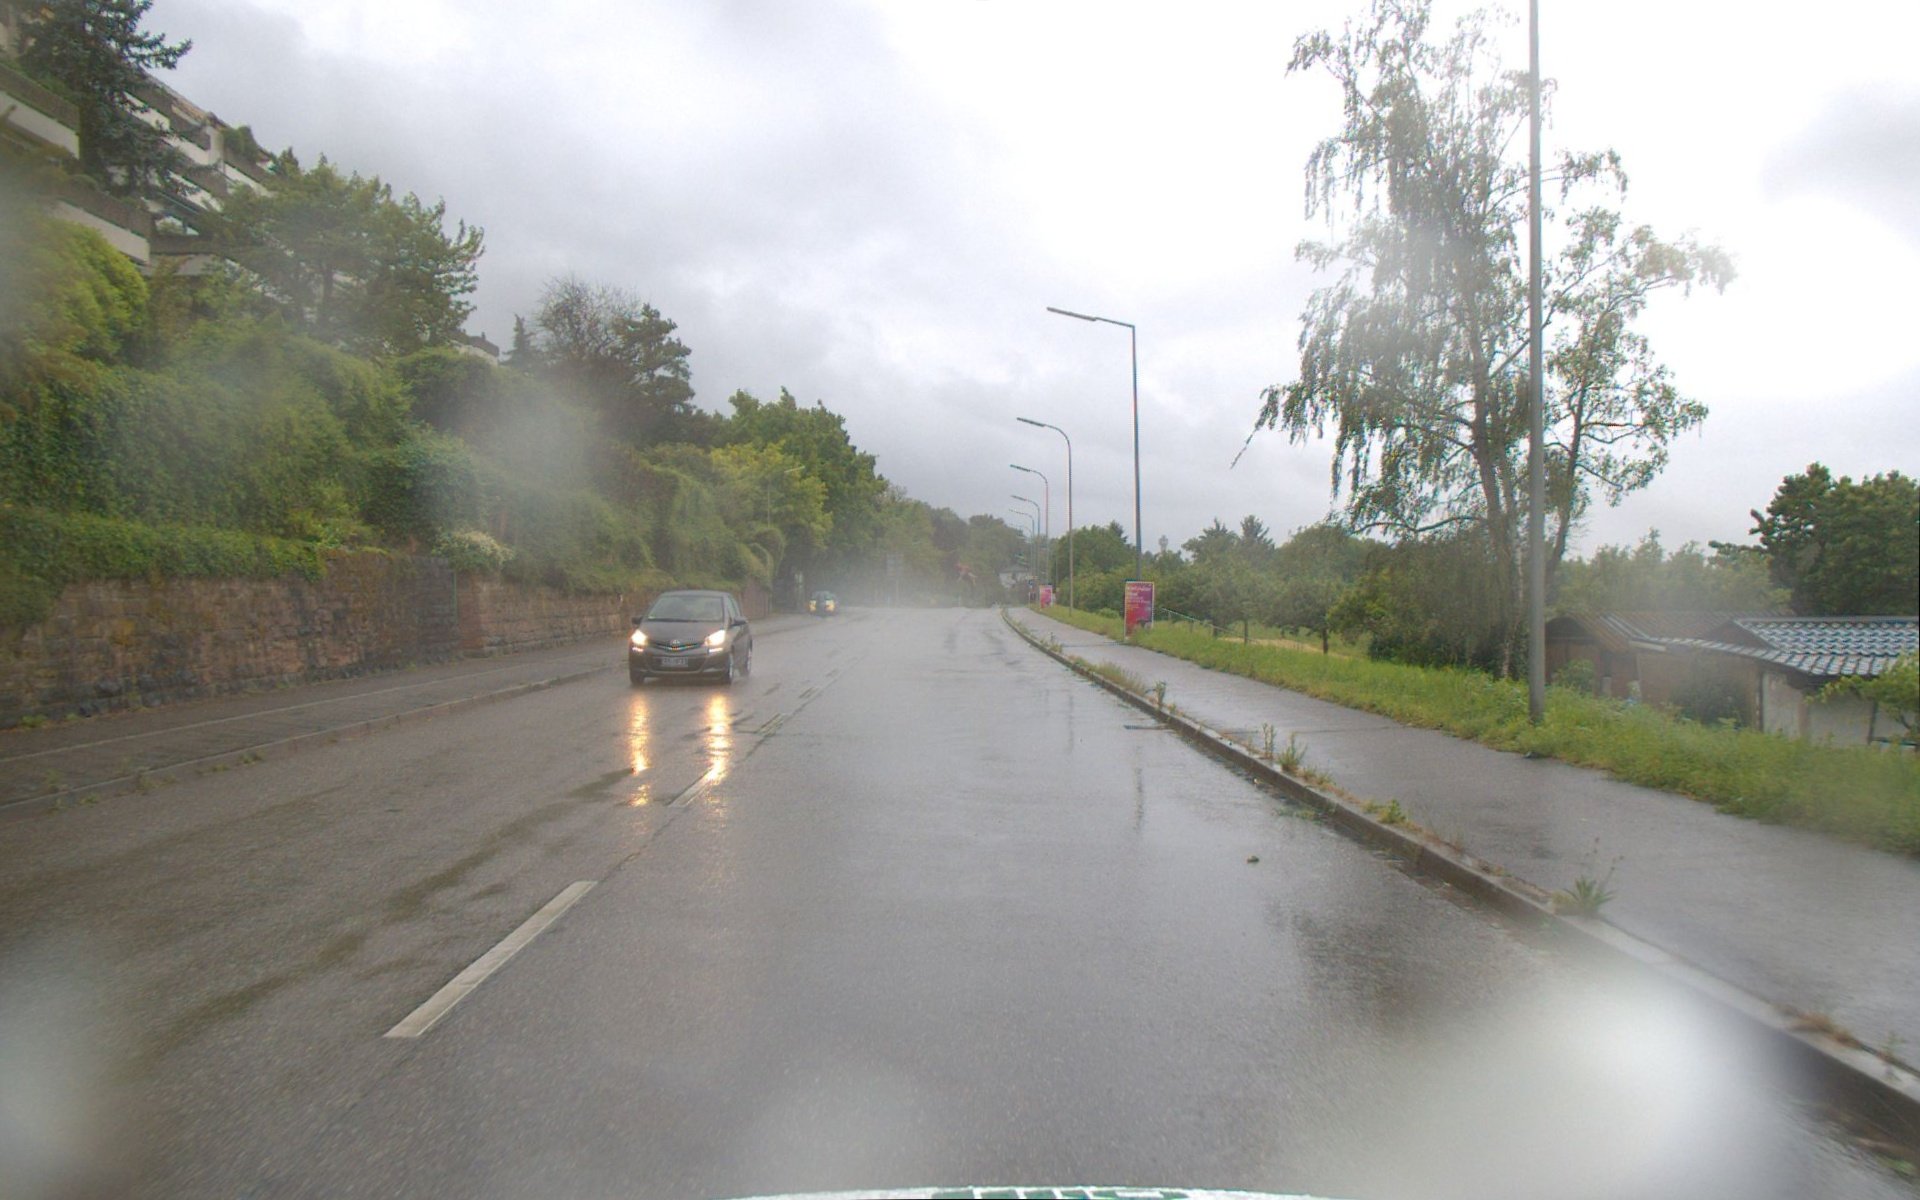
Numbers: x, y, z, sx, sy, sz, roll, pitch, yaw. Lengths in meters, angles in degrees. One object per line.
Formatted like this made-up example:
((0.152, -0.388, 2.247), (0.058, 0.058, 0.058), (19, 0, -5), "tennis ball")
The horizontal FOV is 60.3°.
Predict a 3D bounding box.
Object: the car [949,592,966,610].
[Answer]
((-0.271, 0.167, 190.872), (1.953, 2.049, 3.999), (0, 0, -1), "car")

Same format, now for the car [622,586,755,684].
((-4.545, 0.545, 28.188), (1.724, 1.522, 4.125), (-1, 0, -3), "car")

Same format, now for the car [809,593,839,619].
((-8.257, 0.331, 100.407), (1.693, 1.522, 3.985), (-1, 0, -3), "car")
